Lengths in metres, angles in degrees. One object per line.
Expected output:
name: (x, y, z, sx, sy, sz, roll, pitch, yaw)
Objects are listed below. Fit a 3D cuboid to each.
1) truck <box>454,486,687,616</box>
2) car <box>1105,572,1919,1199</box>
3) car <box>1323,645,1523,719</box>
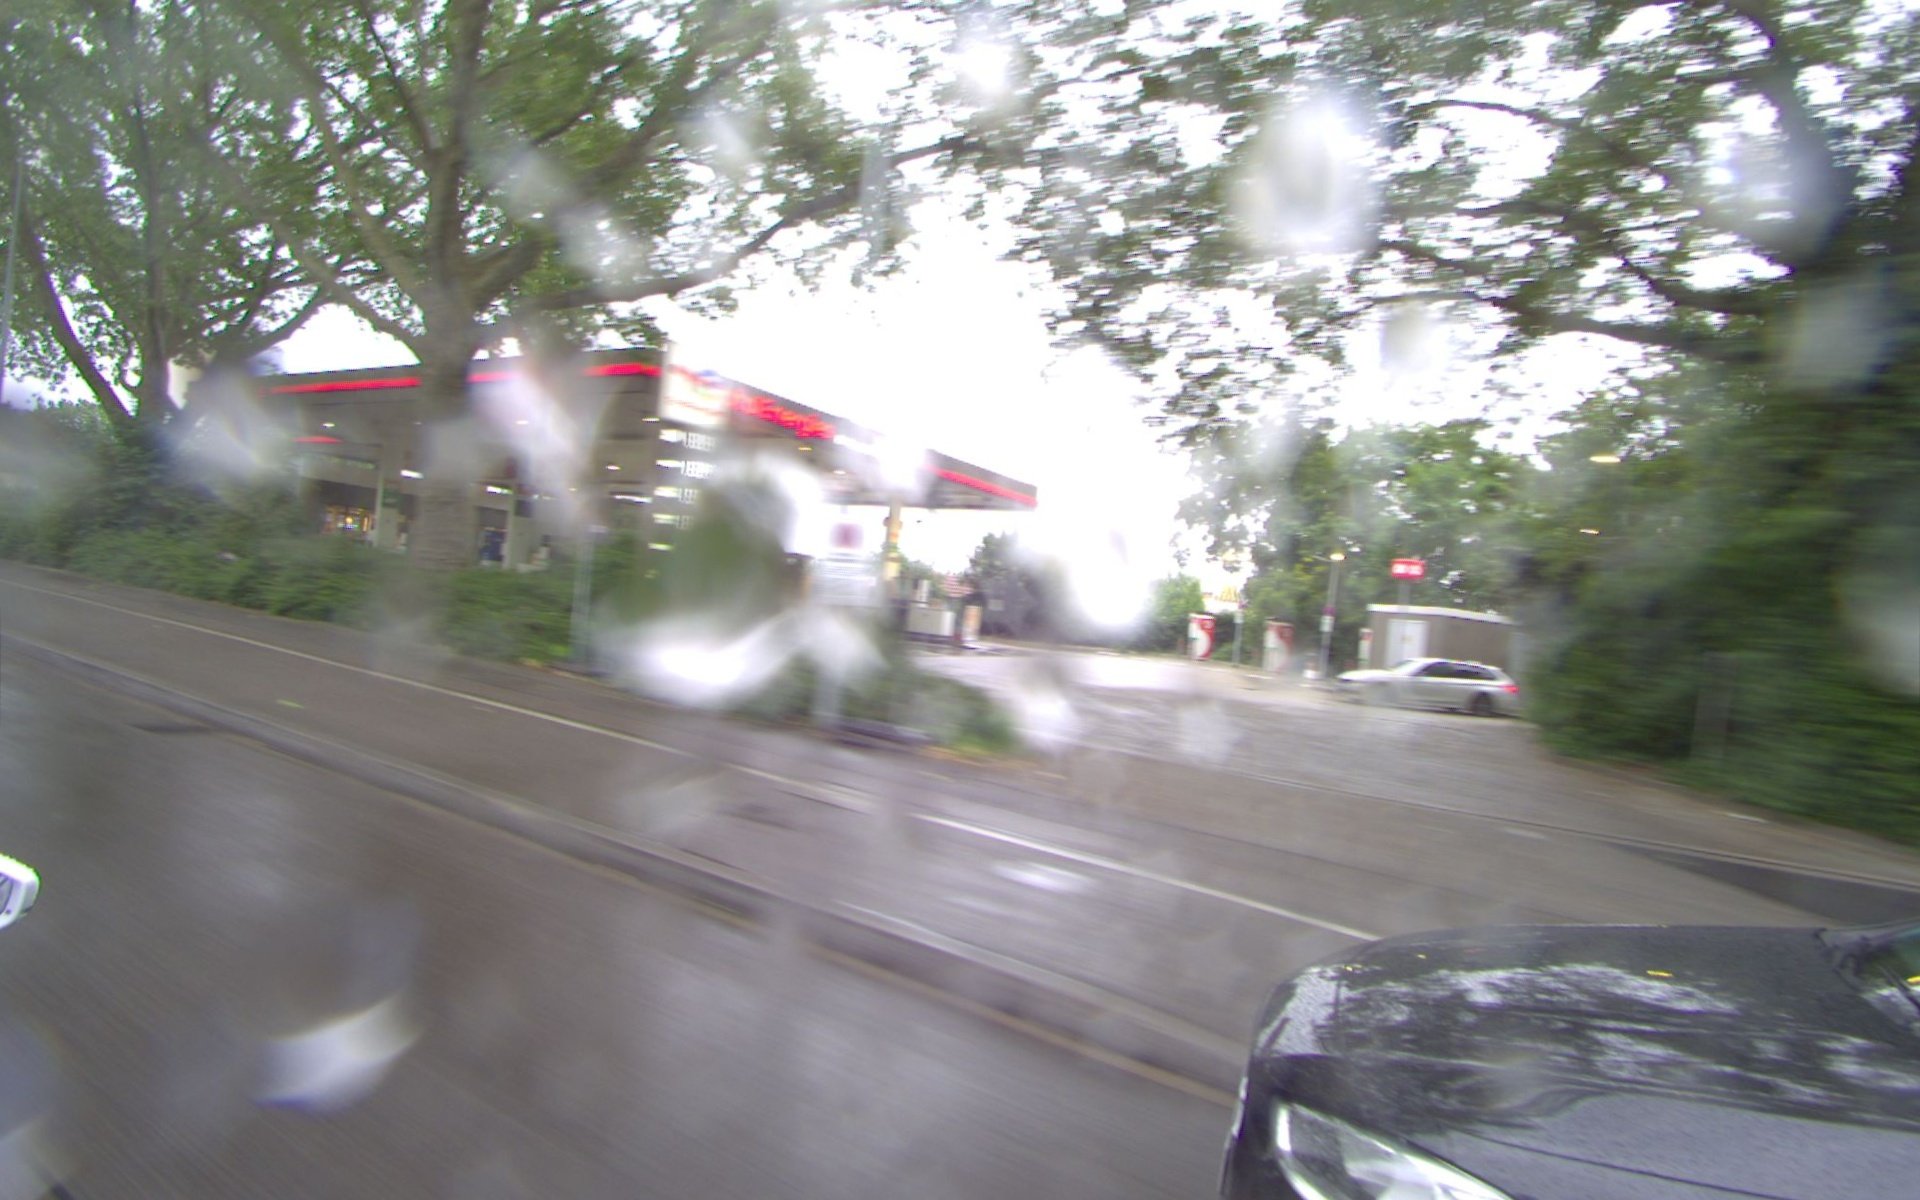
truck: (-12.988, -1.672, 33.299, 7.639, 3.391, 2.700, 6, -2, 30)
car: (2.570, 1.047, 1.300, 4.348, 1.547, 1.821, 7, -2, 32)
car: (12.824, 2.244, 28.079, 4.545, 1.505, 2.001, 6, -2, 1)
